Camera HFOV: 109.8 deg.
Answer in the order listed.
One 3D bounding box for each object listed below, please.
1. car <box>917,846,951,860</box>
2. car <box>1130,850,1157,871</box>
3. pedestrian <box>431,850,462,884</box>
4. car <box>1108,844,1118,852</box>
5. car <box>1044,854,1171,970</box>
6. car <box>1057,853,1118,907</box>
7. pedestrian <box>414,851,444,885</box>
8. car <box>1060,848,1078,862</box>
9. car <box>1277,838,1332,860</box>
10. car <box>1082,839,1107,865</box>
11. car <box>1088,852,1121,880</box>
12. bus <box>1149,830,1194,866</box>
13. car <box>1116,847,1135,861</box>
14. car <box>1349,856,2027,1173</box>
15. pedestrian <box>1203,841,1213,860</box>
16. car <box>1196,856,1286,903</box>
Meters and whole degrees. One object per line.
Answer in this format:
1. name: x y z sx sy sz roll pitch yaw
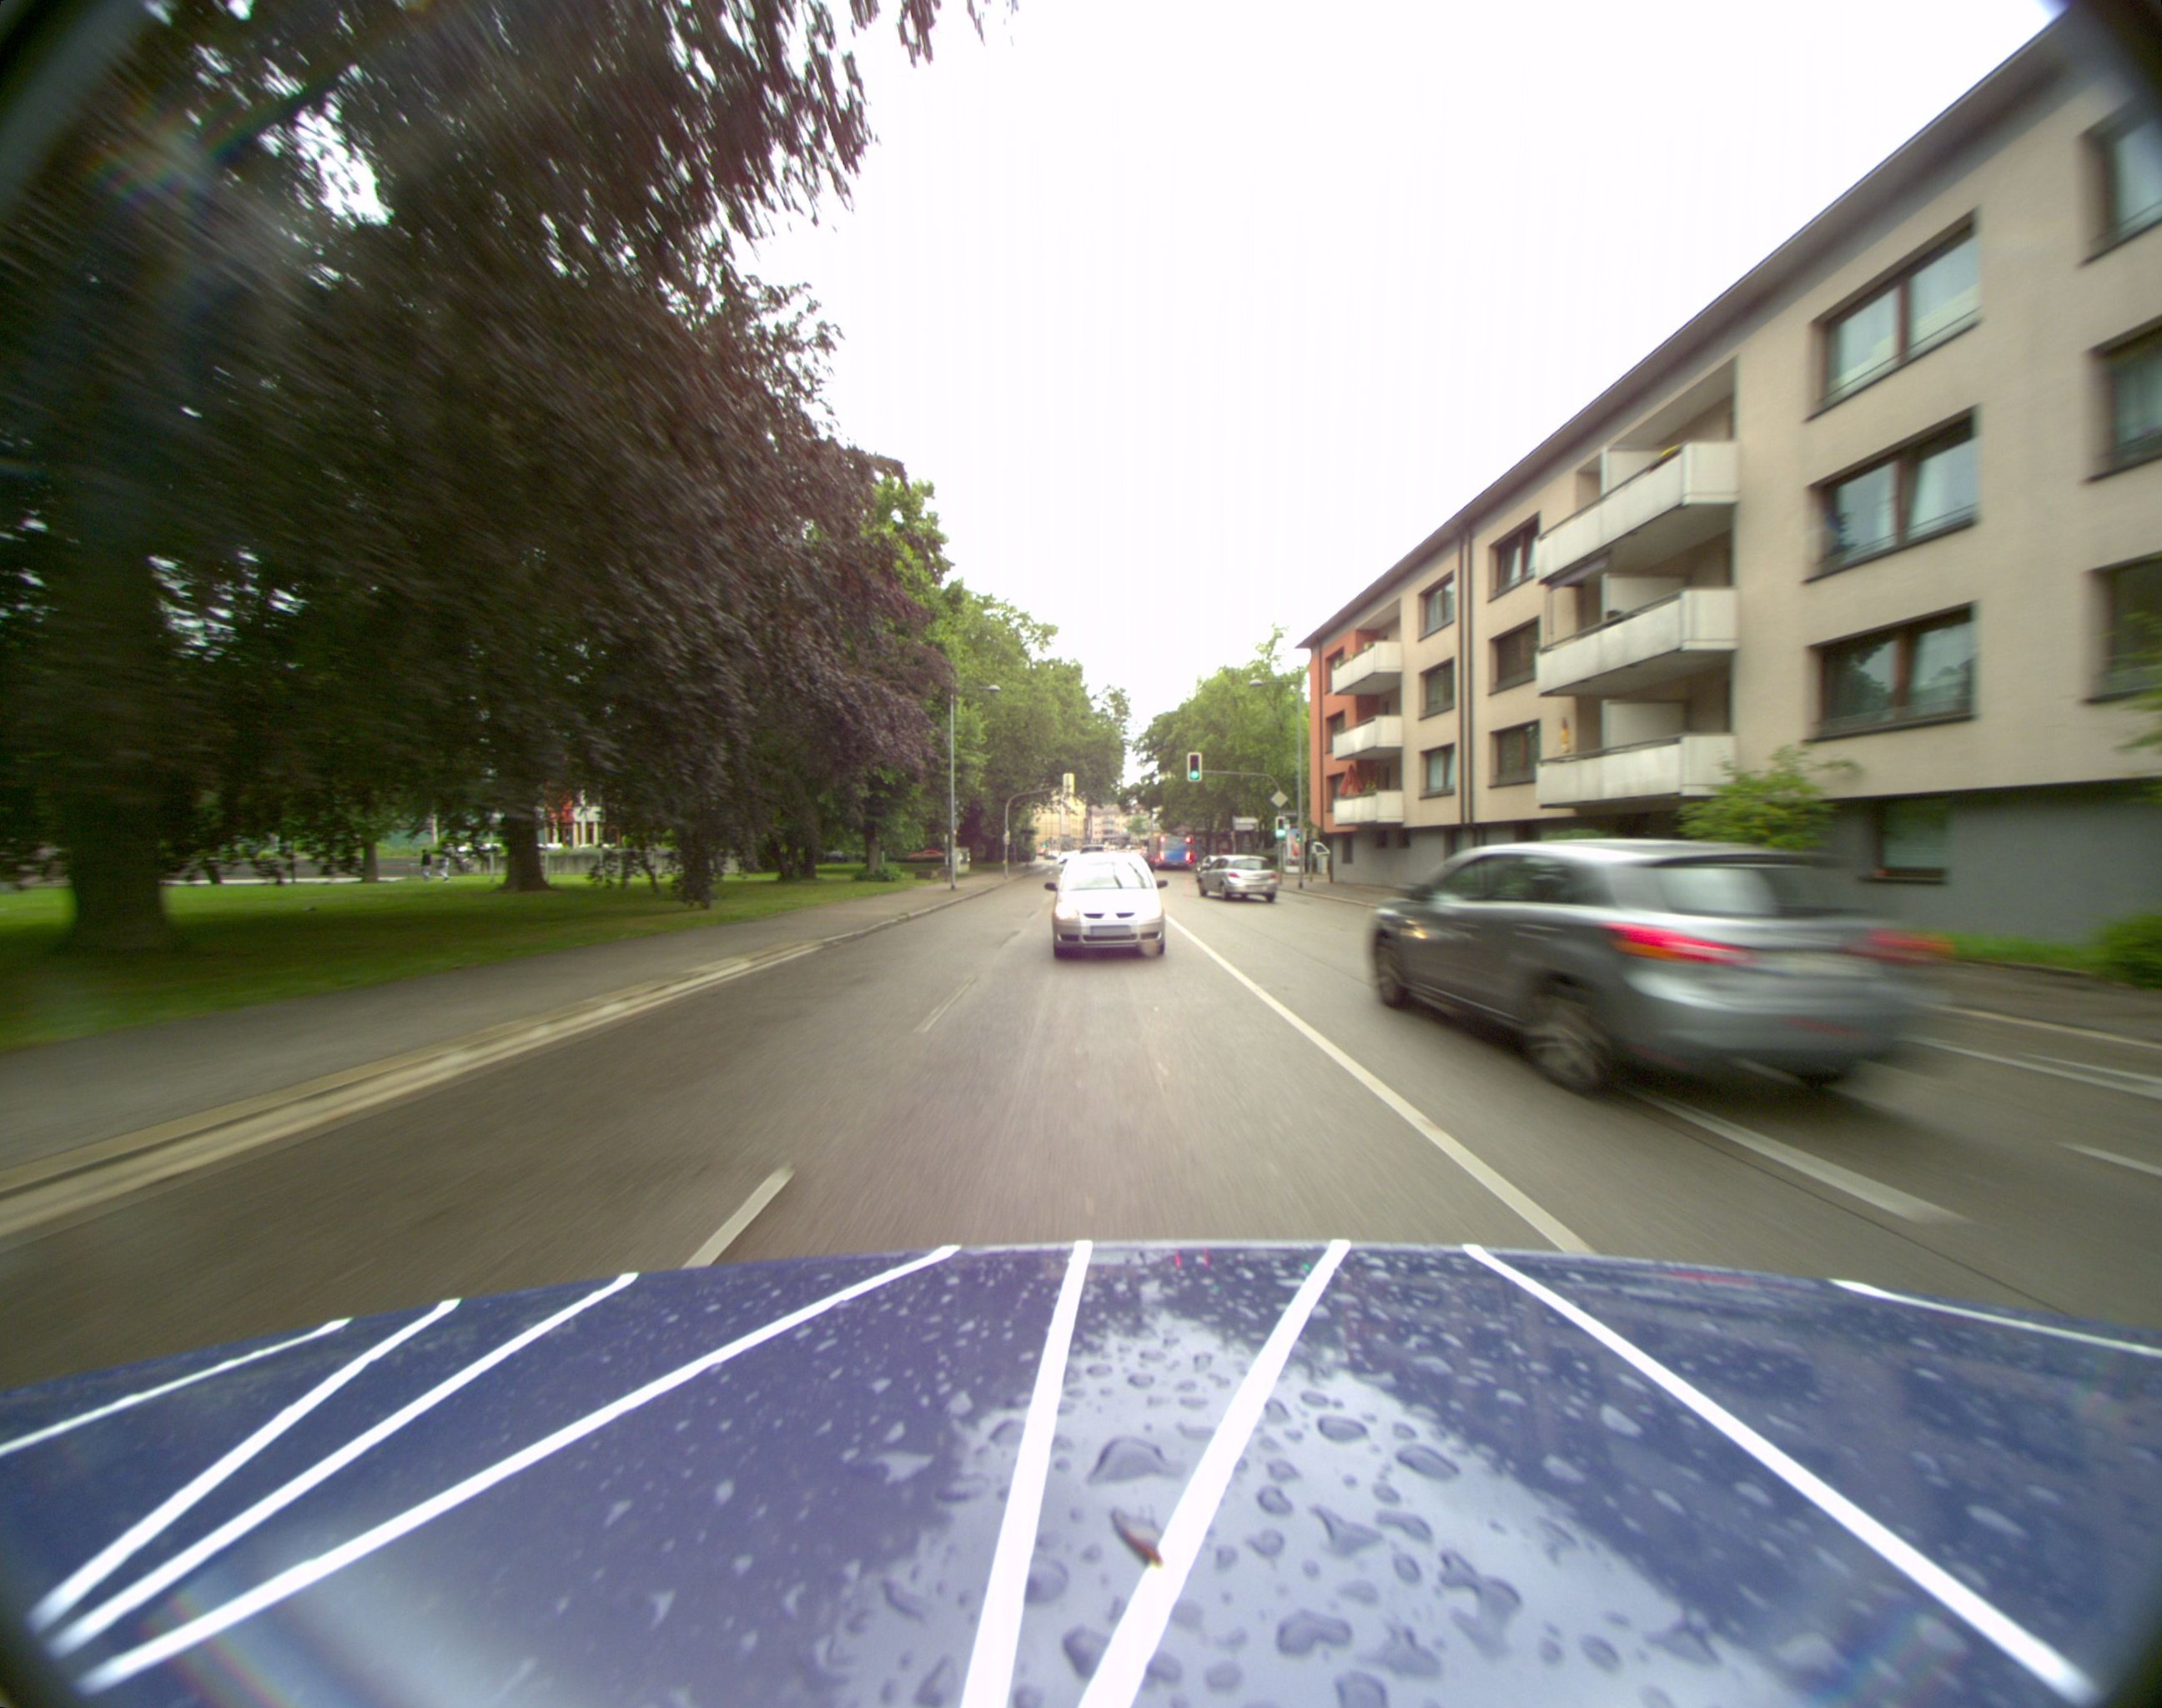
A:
1. car: -18.340 -0.161 94.971 3.998 1.706 1.999 0 1 -2
2. car: 4.696 0.443 57.398 1.691 1.483 3.889 1 0 0
3. pedestrian: -34.595 0.694 41.452 0.840 1.753 0.879 -3 2 -5
4. car: 6.154 -1.079 148.350 1.802 1.509 4.580 1 0 0
5. car: 0.393 0.814 13.043 1.718 1.509 4.806 -2 1 0
6. car: 0.199 0.752 24.010 1.718 1.509 4.088 -1 1 0
7. pedestrian: -34.683 0.726 40.429 0.840 1.753 0.771 -3 2 -5
8. car: -1.395 0.076 91.269 1.906 1.538 3.999 -1 1 2
9. car: 19.587 -0.428 66.580 4.334 1.911 1.702 0 1 -2
10. car: 1.152 -0.185 64.459 2.037 2.119 3.999 -1 1 2
11. car: 1.312 0.653 43.091 1.800 1.449 4.491 0 1 1
12. bus: 7.773 -0.587 66.934 2.700 2.923 12.082 0 1 1
13. car: 4.653 -0.017 80.121 1.798 1.407 4.335 0 0 0
14. car: 3.806 0.815 5.932 1.818 1.569 4.231 0 0 -2
15. pedestrian: 12.370 -0.362 74.024 0.711 1.759 0.687 -3 2 1
16. car: 5.179 0.787 25.127 1.818 1.407 4.046 0 0 -5
